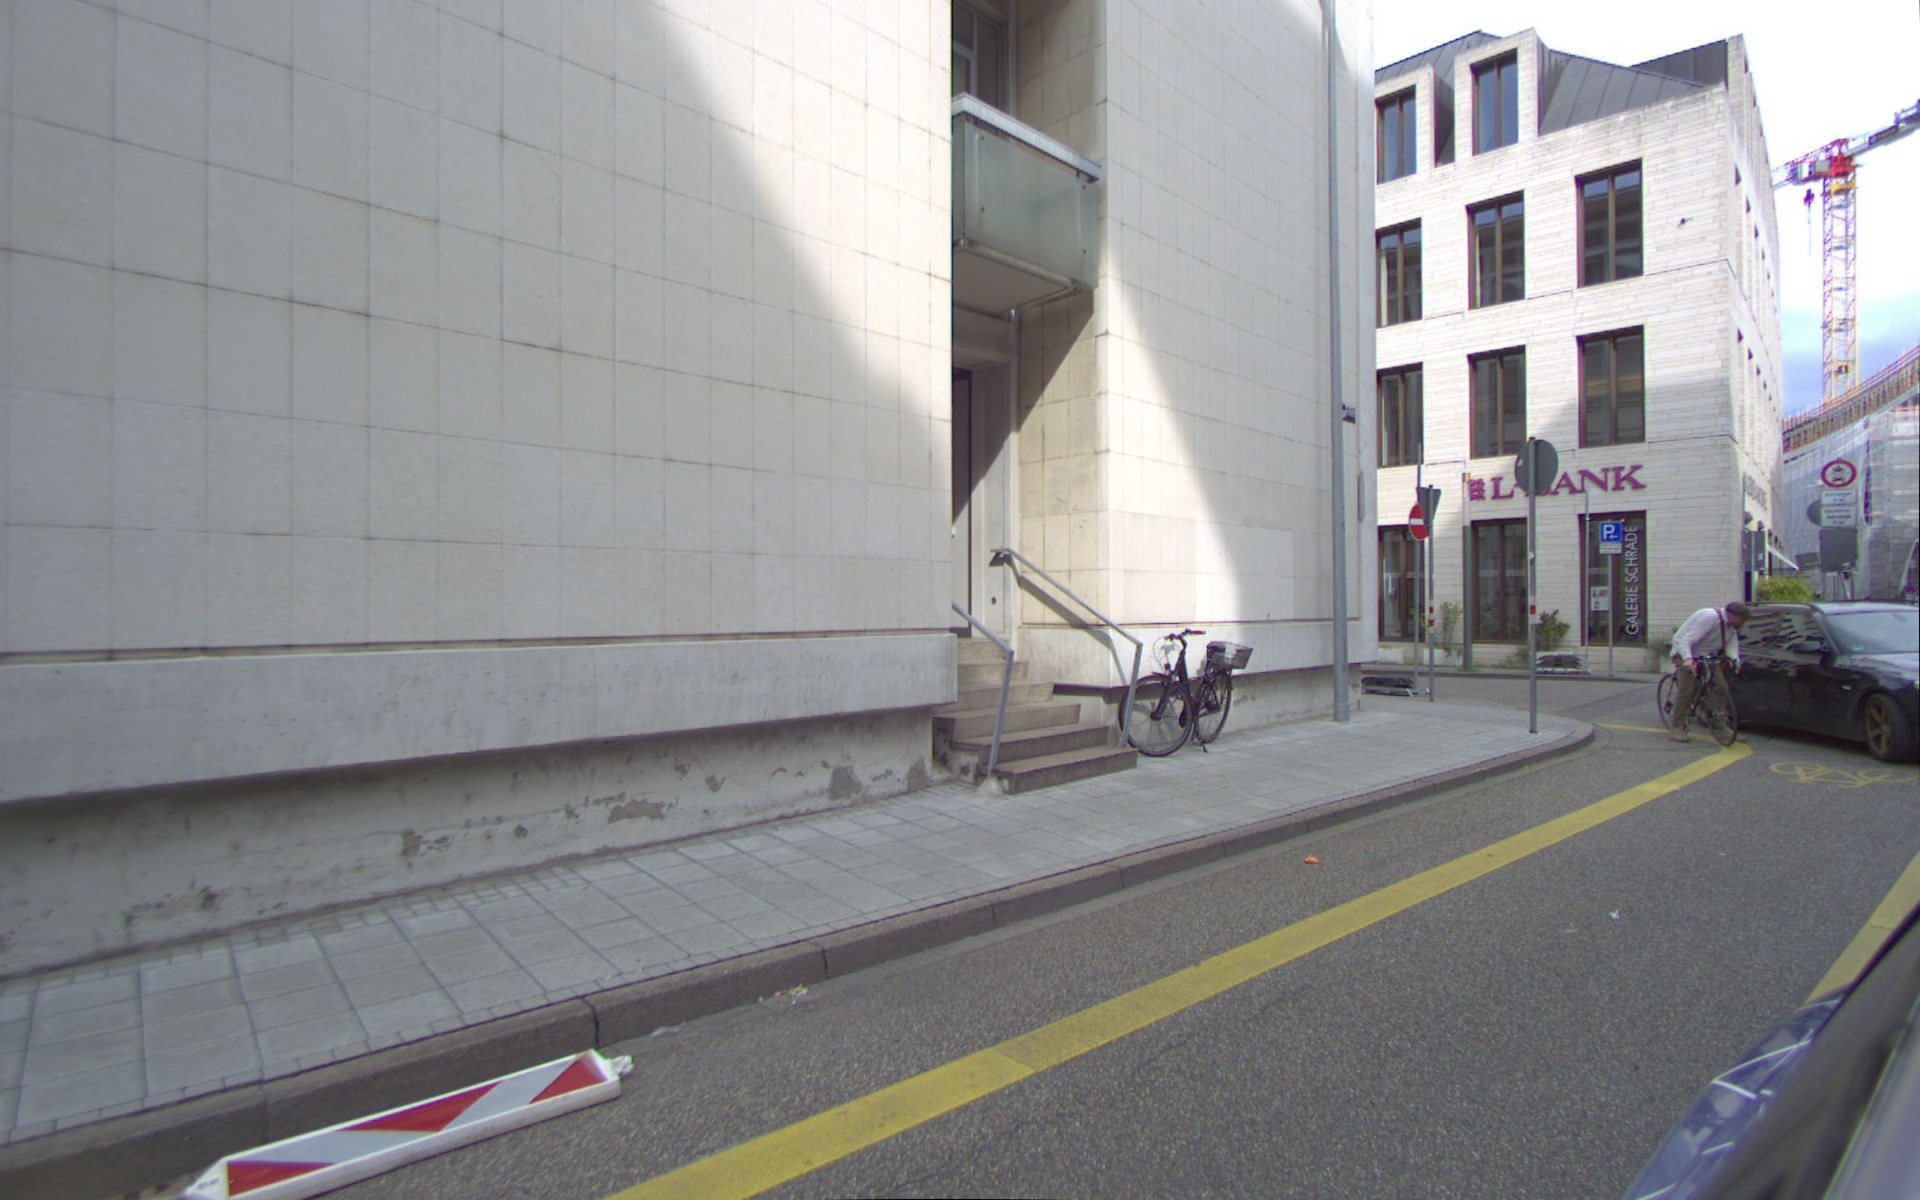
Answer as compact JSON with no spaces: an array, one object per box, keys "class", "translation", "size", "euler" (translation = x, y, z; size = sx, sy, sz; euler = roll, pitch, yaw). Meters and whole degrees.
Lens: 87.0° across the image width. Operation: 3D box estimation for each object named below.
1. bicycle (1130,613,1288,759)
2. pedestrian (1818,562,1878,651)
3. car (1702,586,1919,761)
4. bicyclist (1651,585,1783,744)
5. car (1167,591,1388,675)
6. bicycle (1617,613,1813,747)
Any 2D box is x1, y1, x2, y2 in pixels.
[{"class":"bicycle","translation":[2.323,0.729,9.301],"size":[0.588,1.182,1.786],"euler":[0,0,44]},{"class":"pedestrian","translation":[18.912,0.129,21.574],"size":[0.767,1.854,0.853],"euler":[0,0,29]},{"class":"car","translation":[9.373,0.621,10.052],"size":[1.690,1.509,3.754],"euler":[-1,0,10]},{"class":"bicyclist","translation":[8.073,0.649,10.843],"size":[0.881,1.614,0.872],"euler":[0,0,19]},{"class":"car","translation":[6.639,0.617,21.493],"size":[1.784,1.610,4.187],"euler":[-1,1,-42]},{"class":"bicycle","translation":[8.183,0.782,11.159],"size":[0.860,1.209,2.847],"euler":[0,0,18]}]
